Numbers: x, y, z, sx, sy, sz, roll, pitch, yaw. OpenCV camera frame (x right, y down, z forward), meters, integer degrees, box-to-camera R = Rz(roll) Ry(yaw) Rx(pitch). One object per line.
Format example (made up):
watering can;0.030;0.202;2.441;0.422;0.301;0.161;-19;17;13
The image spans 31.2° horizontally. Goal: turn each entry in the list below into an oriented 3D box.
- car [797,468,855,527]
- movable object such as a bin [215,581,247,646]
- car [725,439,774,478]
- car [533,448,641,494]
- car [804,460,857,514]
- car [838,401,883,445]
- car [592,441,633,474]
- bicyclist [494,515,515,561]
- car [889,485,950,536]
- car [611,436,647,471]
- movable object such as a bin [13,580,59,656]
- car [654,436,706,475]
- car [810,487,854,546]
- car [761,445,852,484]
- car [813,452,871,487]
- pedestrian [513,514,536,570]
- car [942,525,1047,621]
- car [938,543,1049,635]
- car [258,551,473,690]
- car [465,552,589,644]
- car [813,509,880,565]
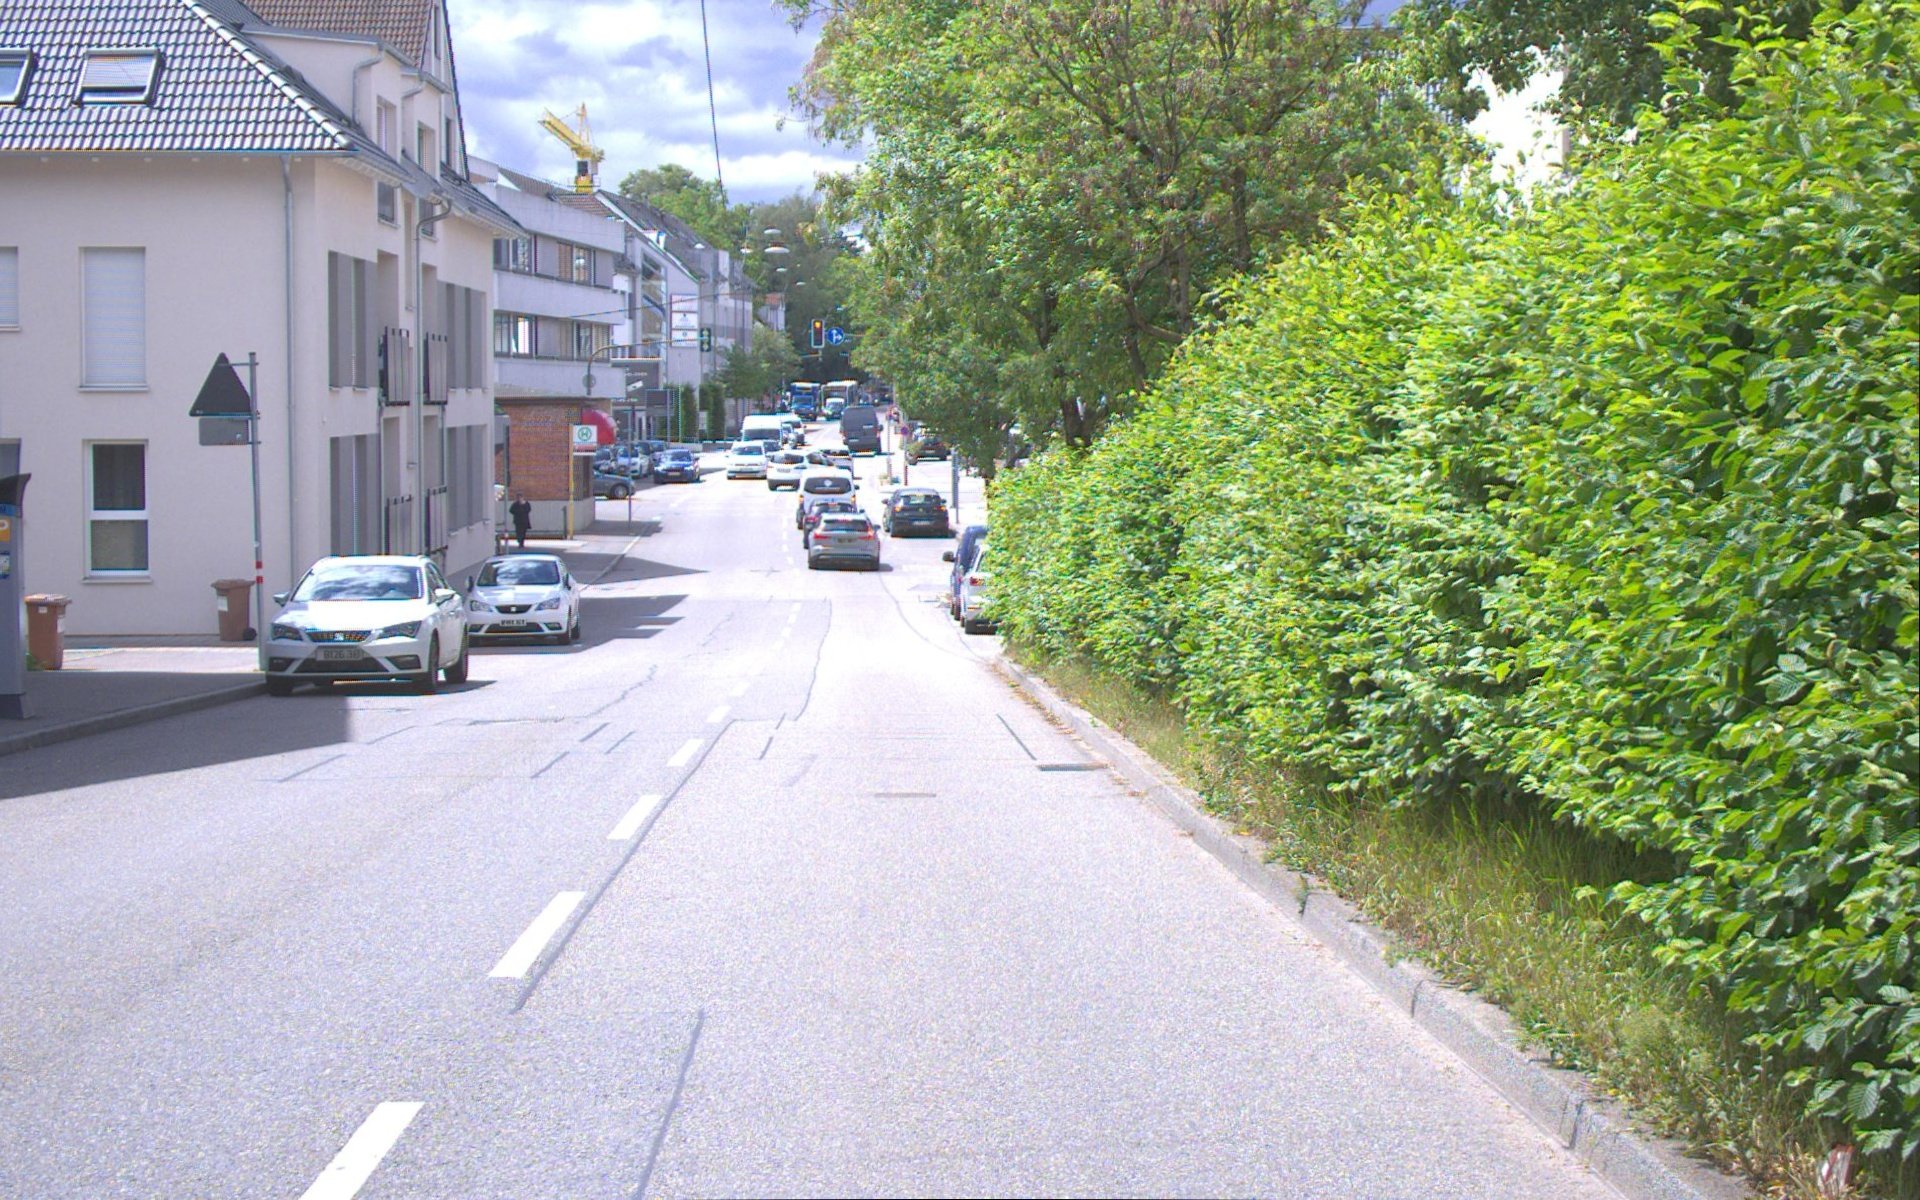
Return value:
car;-4.297;-3.316;110.686;1.836;1.855;3.851;1;2;-2
movable object such as a bin;-10.947;0.201;51.630;0.413;0.950;0.391;-1;1;-5
car;-9.377;-6.323;153.529;1.873;1.634;4.000;1;2;1
car;-14.012;-4.842;129.157;3.649;1.609;1.576;1;2;-28
car;-4.549;-3.984;121.228;1.836;1.855;3.851;1;2;-2
car;-5.524;-9.799;190.597;2.436;2.310;5.327;1;2;-2
car;-15.118;-6.176;149.548;1.551;1.371;3.399;0;1;-2
bicyclist;-11.933;-1.627;90.098;0.458;1.175;0.625;0;2;-2
car;-1.275;-2.794;106.851;1.752;1.366;4.002;0;4;-3
car;-14.869;-6.568;154.449;1.384;1.535;3.399;0;1;-2
movable object such as a bin;-11.406;0.220;42.430;0.454;0.926;0.400;-1;1;-2
car;-12.196;-6.285;149.722;1.873;1.634;4.000;1;2;1
car;-3.731;-2.436;100.093;1.273;1.522;3.051;0;5;-2
car;-6.222;-5.505;139.803;1.784;1.552;3.993;0;2;31
car;-5.299;-5.861;154.920;1.783;1.487;3.999;2;2;10
pedestrian;-12.474;-1.660;98.509;0.628;1.597;0.563;0;2;-5
car;0.639;-0.554;66.553;1.844;1.761;4.516;0;1;-2
car;0.557;-0.223;60.774;1.786;1.504;4.365;0;2;-2
car;-6.429;0.189;37.544;1.697;1.385;3.866;1;1;0
car;-6.962;-0.045;55.532;1.647;1.414;3.699;1;0;-2
car;-3.002;-1.694;91.164;1.744;1.412;4.001;0;2;-2
